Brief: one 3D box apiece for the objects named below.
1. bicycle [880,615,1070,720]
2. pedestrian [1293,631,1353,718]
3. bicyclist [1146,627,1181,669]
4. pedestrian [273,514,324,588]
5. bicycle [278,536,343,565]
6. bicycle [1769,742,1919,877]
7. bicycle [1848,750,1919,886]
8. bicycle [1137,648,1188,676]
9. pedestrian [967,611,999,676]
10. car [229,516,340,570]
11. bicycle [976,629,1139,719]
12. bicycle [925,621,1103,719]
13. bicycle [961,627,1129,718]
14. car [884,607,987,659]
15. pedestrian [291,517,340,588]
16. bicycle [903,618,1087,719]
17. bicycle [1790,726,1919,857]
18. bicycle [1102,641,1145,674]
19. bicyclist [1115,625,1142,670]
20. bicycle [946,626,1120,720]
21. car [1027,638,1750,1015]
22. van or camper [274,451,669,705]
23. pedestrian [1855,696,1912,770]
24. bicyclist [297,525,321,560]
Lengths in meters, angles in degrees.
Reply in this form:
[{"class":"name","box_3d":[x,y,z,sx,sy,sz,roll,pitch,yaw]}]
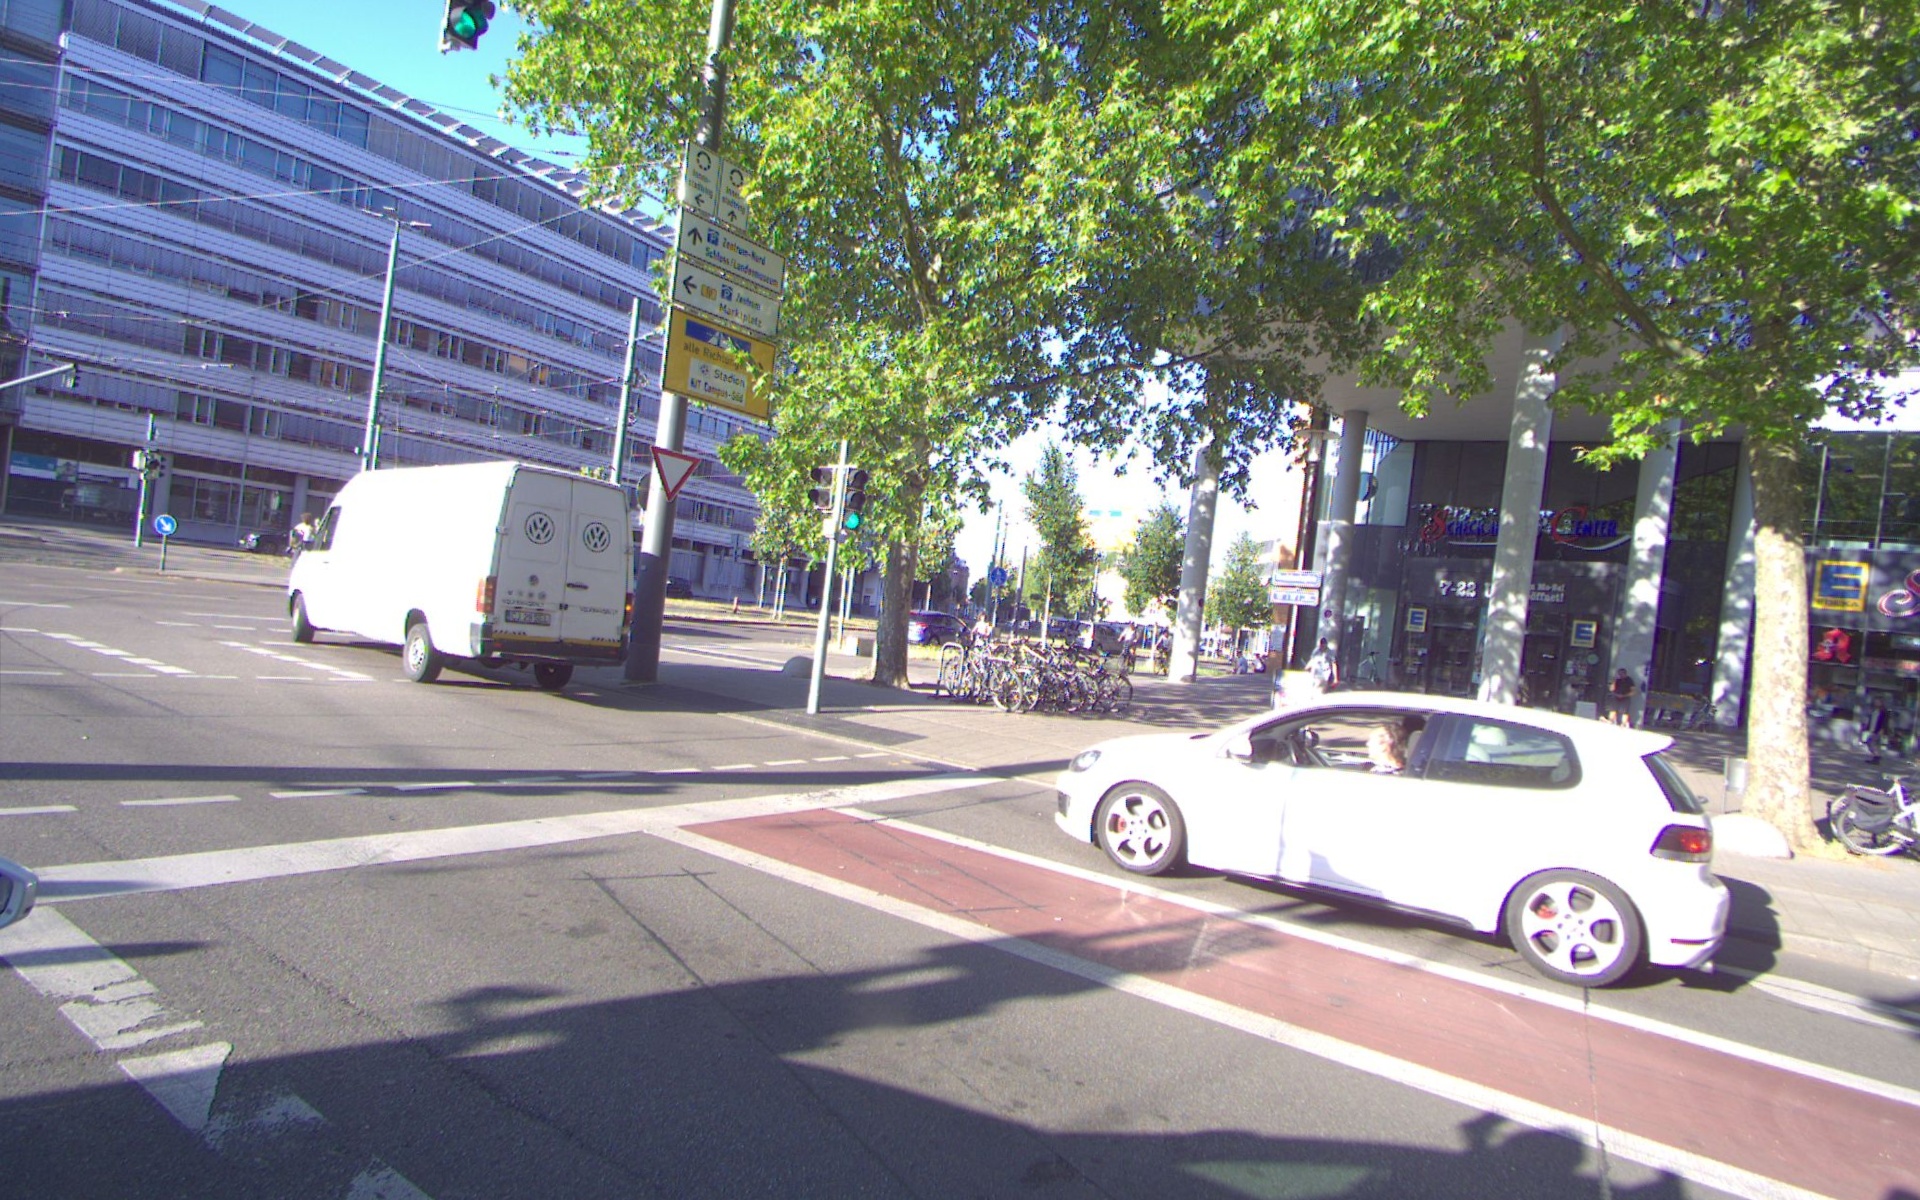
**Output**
[{"class":"bicycle","box_3d":[0.189,1.031,15.717,2.896,1.252,0.705,6,-1,31]},{"class":"pedestrian","box_3d":[8.589,1.748,23.819,0.800,1.913,0.871,5,1,-16]},{"class":"bicyclist","box_3d":[8.058,1.905,39.841,1.021,1.586,0.800,4,1,-39]},{"class":"pedestrian","box_3d":[-16.952,-1.246,25.781,0.667,1.781,0.741,7,1,-4]},{"class":"bicycle","box_3d":[-30.034,-2.275,46.544,0.627,1.035,2.409,7,0,36]},{"class":"bicycle","box_3d":[10.874,2.372,10.435,3.759,1.234,0.756,5,-2,38]},{"class":"bicycle","box_3d":[10.186,2.241,9.529,2.514,1.234,0.756,5,-2,37]},{"class":"bicycle","box_3d":[8.030,2.456,39.850,2.083,0.964,0.740,5,1,-40]},{"class":"pedestrian","box_3d":[0.605,1.160,26.658,0.523,1.644,0.543,7,1,19]},{"class":"car","box_3d":[-33.836,-2.829,50.465,1.967,2.037,3.995,6,-2,32]},{"class":"bicycle","box_3d":[1.797,1.367,18.884,2.896,1.250,0.698,6,-4,31]},{"class":"bicycle","box_3d":[0.871,1.160,16.931,2.896,1.252,0.705,6,-1,32]},{"class":"bicycle","box_3d":[1.505,1.285,18.200,2.896,1.252,0.705,6,-1,31]},{"class":"car","box_3d":[-0.845,1.268,37.674,1.725,1.476,4.205,7,-2,32]},{"class":"pedestrian","box_3d":[-17.013,-1.244,26.558,0.673,1.781,0.741,7,1,-5]},{"class":"bicycle","box_3d":[0.531,1.091,16.320,2.896,1.243,0.686,6,-1,31]},{"class":"bicycle","box_3d":[11.584,2.400,10.945,3.757,1.235,0.727,10,1,38]},{"class":"bicycle","box_3d":[5.628,1.969,34.495,0.592,1.028,2.189,6,1,31]},{"class":"bicyclist","box_3d":[5.818,1.634,34.745,0.583,1.504,0.749,6,2,32]},{"class":"bicycle","box_3d":[1.231,1.254,17.557,2.896,1.252,0.705,6,-1,31]},{"class":"car","box_3d":[2.637,1.259,6.809,3.919,1.445,1.638,7,-1,30]},{"class":"van or camper","box_3d":[-6.698,-0.426,13.273,6.403,2.647,1.998,7,0,39]},{"class":"pedestrian","box_3d":[24.022,3.442,26.178,0.824,1.765,0.644,7,1,32]},{"class":"bicyclist","box_3d":[-30.053,-2.641,46.457,0.604,1.521,0.663,7,1,37]}]
